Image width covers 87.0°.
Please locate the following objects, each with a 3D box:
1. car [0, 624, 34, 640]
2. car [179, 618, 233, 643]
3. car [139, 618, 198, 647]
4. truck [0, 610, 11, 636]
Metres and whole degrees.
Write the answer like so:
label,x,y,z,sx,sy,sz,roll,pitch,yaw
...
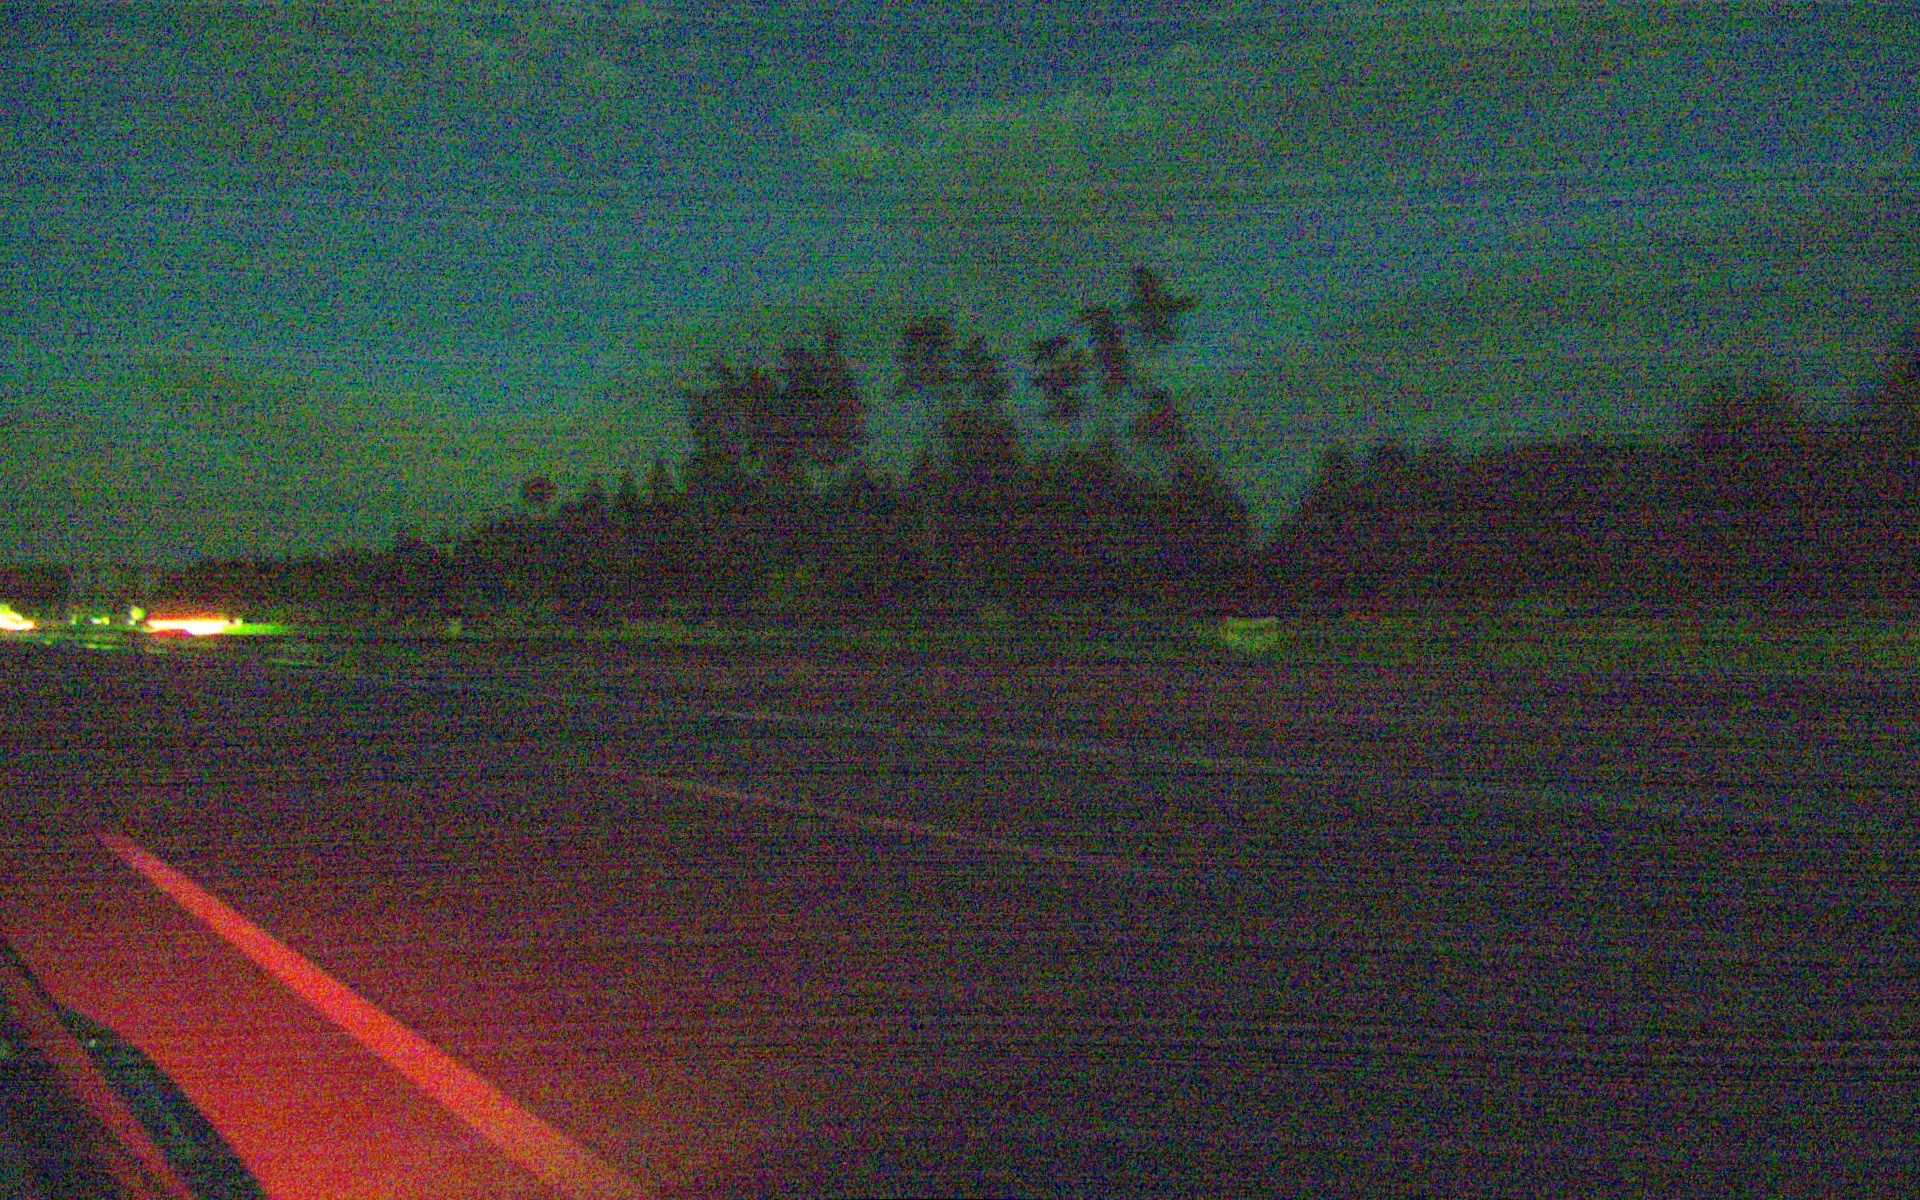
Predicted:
label,x,y,z,sx,sy,sz,roll,pitch,yaw
car,-99.942,3.380,107.253,3.997,1.579,2.127,-1,0,40
car,-51.100,2.050,68.570,3.997,1.579,2.127,-1,0,40
car,-46.910,1.907,59.964,3.997,1.608,1.973,-1,0,40
truck,-165.012,3.942,172.354,11.190,4.345,3.561,-1,0,40
